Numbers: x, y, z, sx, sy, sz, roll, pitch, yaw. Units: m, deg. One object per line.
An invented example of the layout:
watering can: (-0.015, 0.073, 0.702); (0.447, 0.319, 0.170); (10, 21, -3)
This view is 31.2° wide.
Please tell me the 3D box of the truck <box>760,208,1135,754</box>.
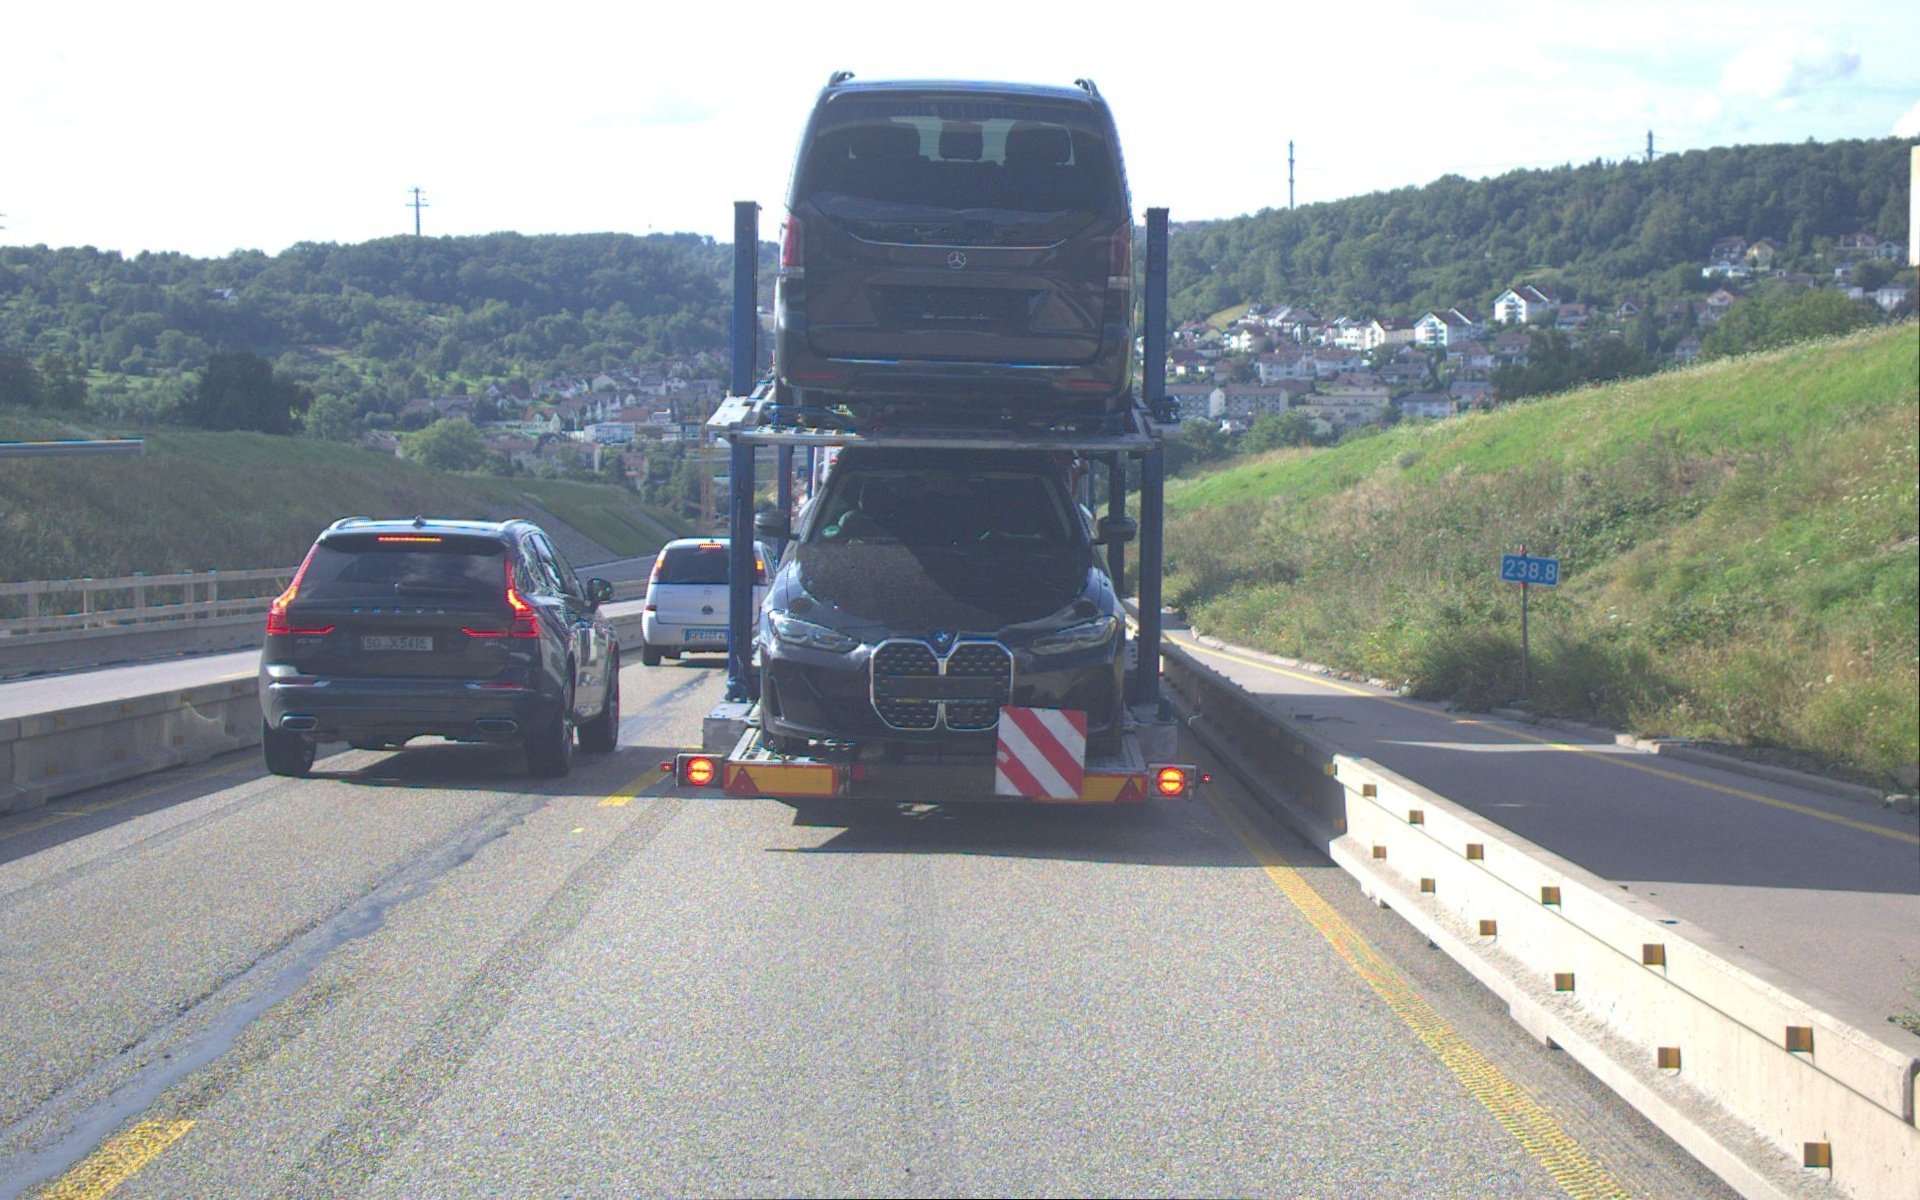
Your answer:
truck: (-0.059, -0.903, 27.650); (2.678, 3.908, 6.027); (0, 1, 1)

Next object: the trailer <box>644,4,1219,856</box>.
trailer: (-0.094, -0.897, 21.957); (2.708, 4.015, 11.420); (0, 1, 0)

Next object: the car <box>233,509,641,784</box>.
car: (-3.364, 0.227, 23.039); (1.993, 1.619, 4.750); (1, 1, 0)

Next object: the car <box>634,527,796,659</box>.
car: (-3.067, -0.132, 43.782); (1.796, 1.591, 4.743); (0, 1, -1)

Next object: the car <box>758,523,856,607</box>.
car: (-2.869, -0.690, 65.152); (1.796, 1.525, 4.296); (0, 1, -2)
